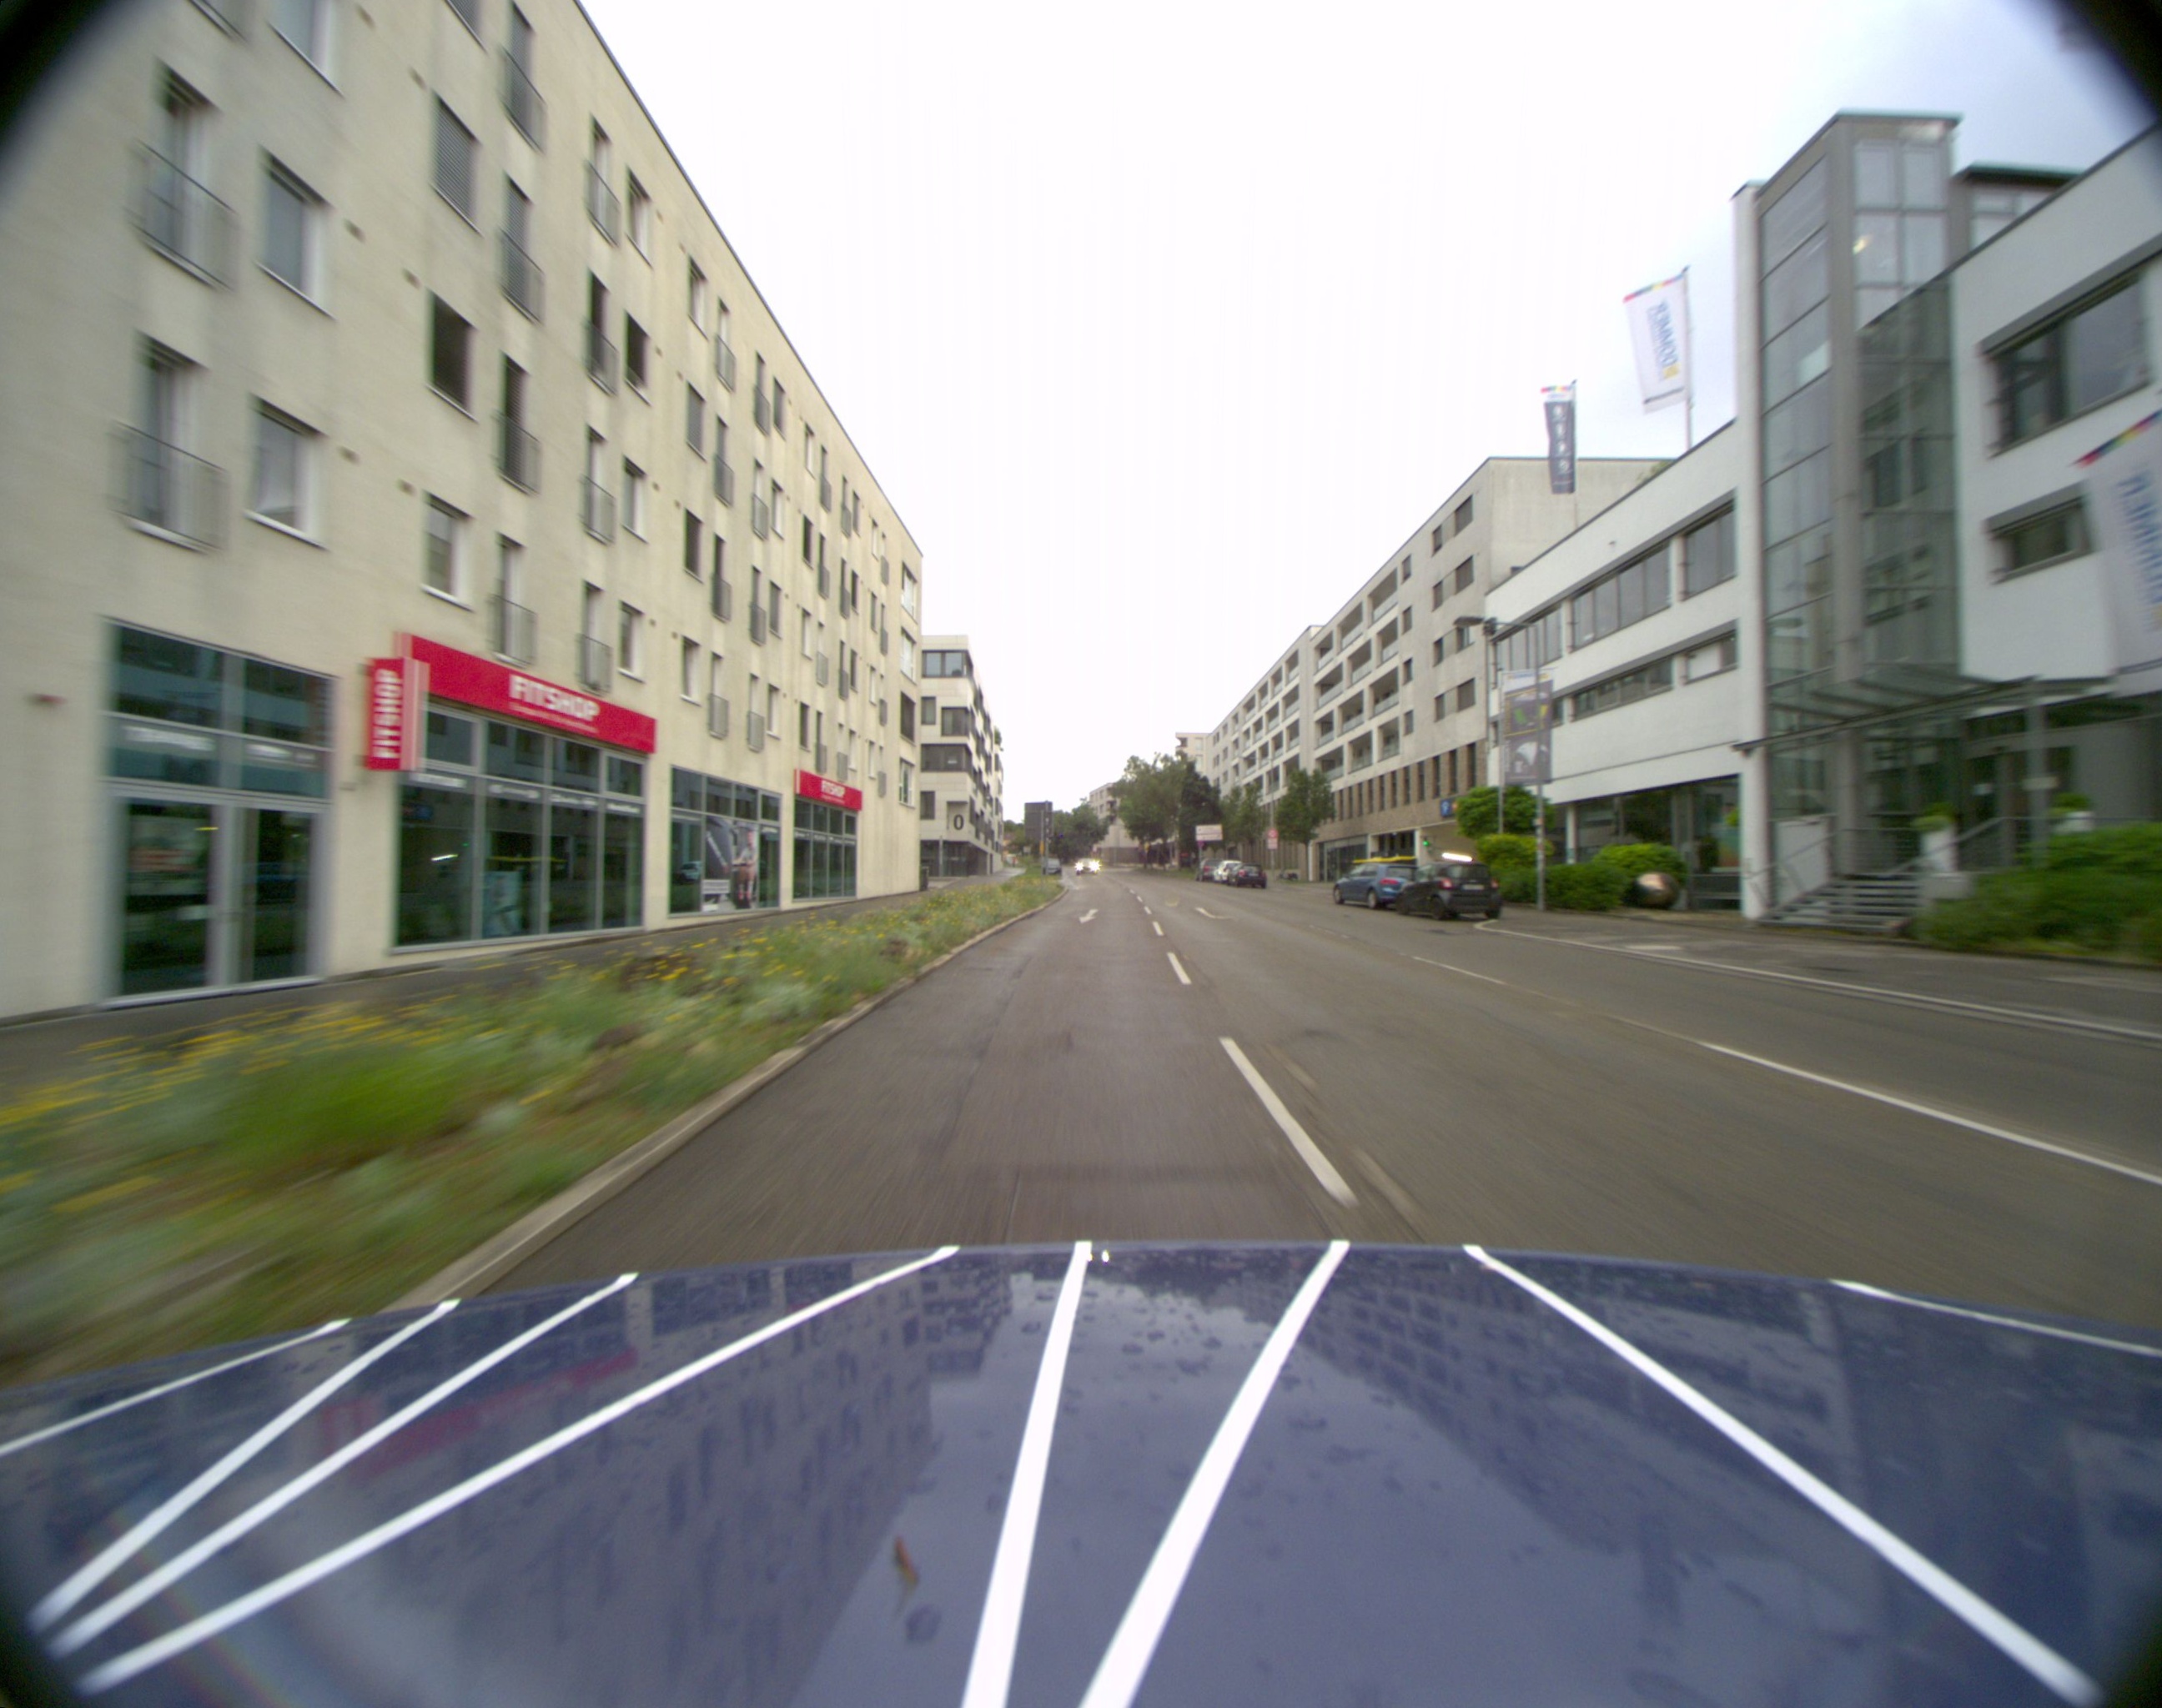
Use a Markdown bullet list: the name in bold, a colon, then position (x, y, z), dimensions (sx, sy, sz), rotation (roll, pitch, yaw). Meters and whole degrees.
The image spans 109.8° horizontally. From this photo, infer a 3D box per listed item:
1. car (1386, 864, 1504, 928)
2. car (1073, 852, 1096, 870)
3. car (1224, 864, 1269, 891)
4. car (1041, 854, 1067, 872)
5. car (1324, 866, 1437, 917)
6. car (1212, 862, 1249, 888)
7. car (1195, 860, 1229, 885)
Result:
- **car**: position (9.755, 1.074, 20.588), dimensions (1.519, 1.501, 2.980), rotation (2, 0, -5)
- **car**: position (0.327, 0.695, 72.860), dimensions (1.998, 1.565, 4.000), rotation (-2, 1, 2)
- **car**: position (9.585, 1.356, 44.359), dimensions (1.662, 1.383, 3.738), rotation (2, 1, -2)
- **car**: position (-2.443, 0.821, 69.802), dimensions (1.998, 1.477, 4.000), rotation (-2, 1, 2)
- **car**: position (9.560, 1.139, 24.633), dimensions (1.661, 1.395, 4.267), rotation (2, 0, -5)
- **car**: position (9.596, 1.330, 48.992), dimensions (1.597, 1.459, 3.421), rotation (3, 1, -1)
- **car**: position (9.256, 1.287, 53.997), dimensions (1.630, 1.608, 3.972), rotation (2, 0, 0)
